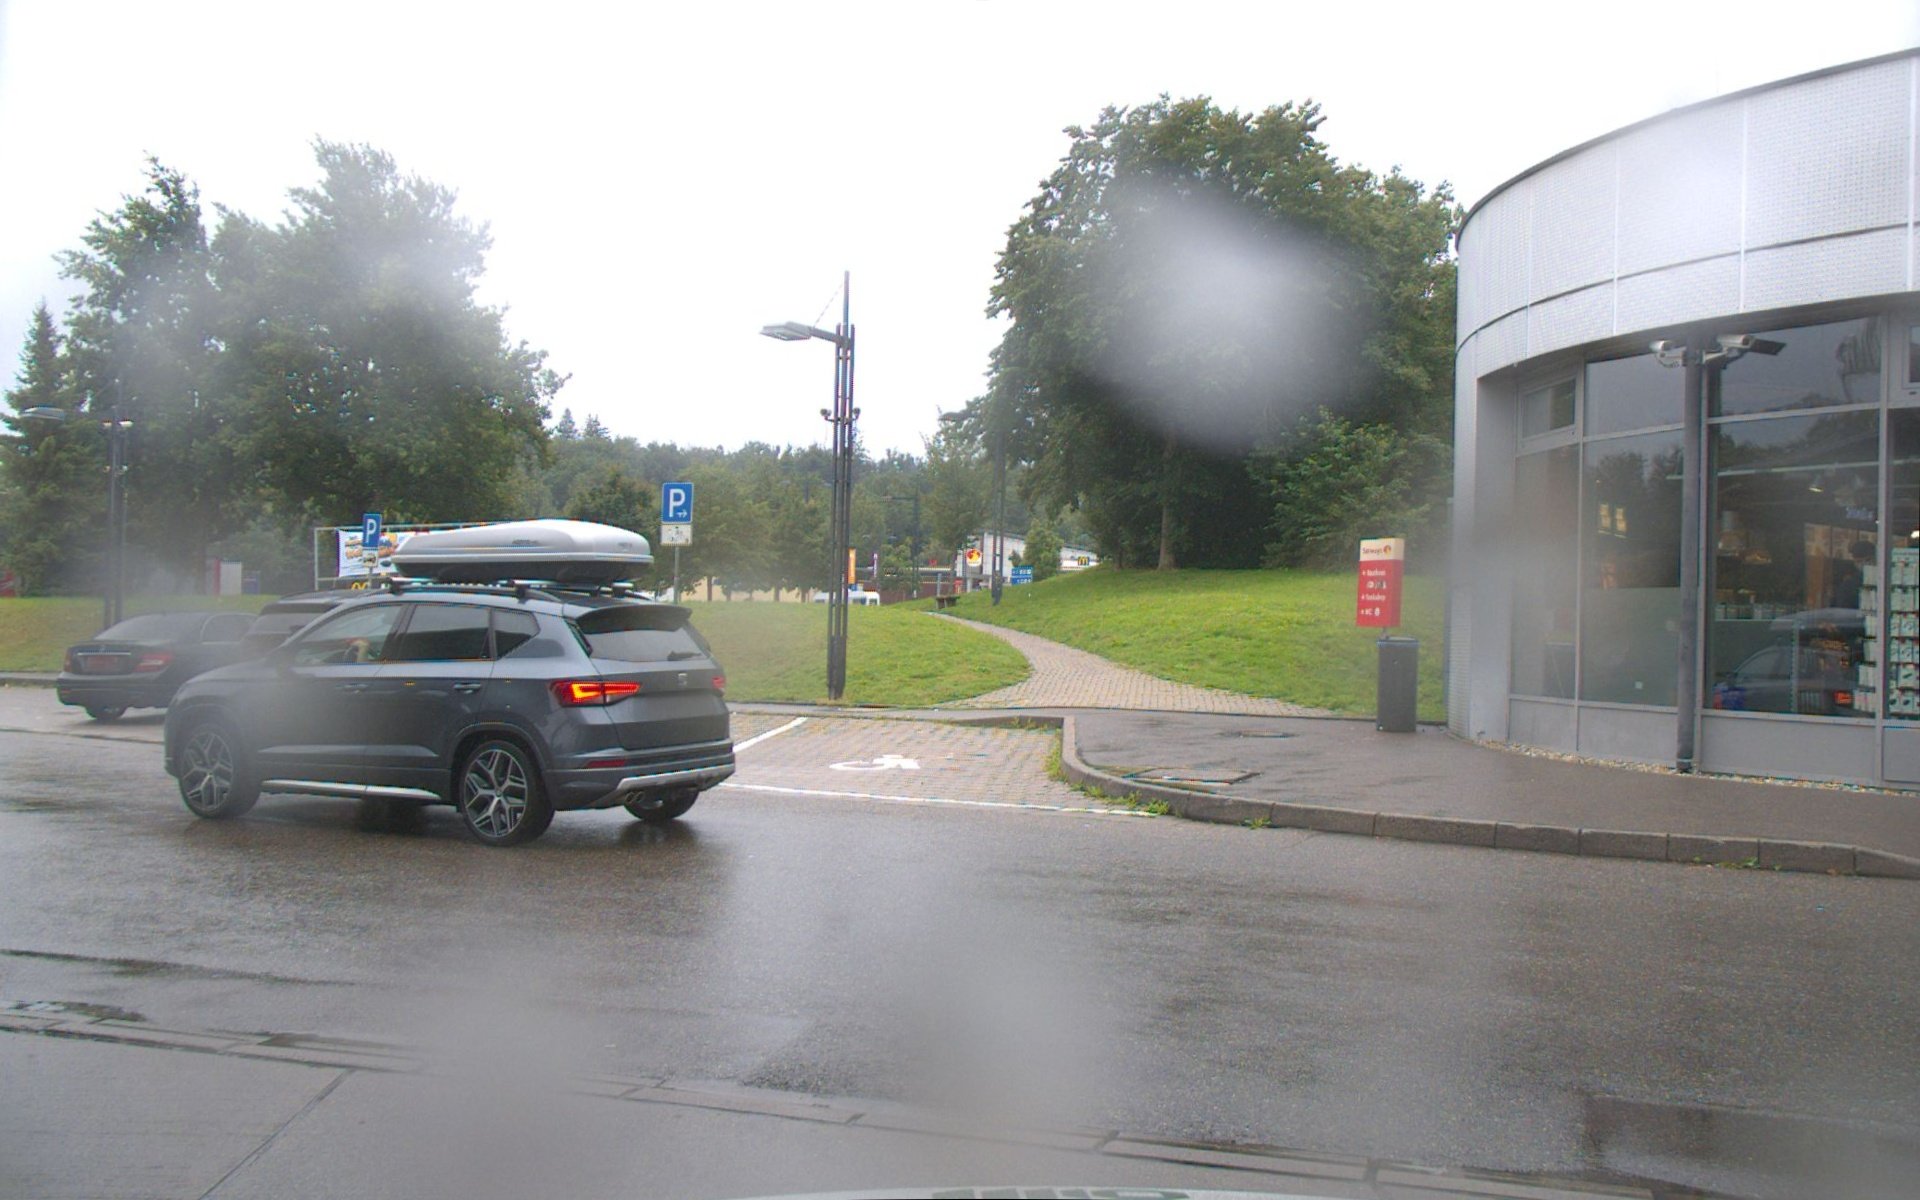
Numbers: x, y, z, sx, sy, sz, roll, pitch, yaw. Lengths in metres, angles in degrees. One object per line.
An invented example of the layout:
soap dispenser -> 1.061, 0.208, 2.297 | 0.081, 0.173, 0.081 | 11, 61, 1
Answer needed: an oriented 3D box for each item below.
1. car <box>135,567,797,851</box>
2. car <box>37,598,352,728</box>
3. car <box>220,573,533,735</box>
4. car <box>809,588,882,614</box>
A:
car -> -3.419, 0.610, 11.373 | 4.228, 1.615, 1.888 | 1, 1, 27
car -> -10.356, 0.782, 22.754 | 1.844, 1.592, 4.189 | 0, 0, 11
car -> -7.330, 0.610, 21.315 | 1.844, 1.860, 4.417 | 0, 0, 11
car -> -9.212, 0.073, 133.509 | 5.310, 2.049, 2.456 | 1, 0, 19
